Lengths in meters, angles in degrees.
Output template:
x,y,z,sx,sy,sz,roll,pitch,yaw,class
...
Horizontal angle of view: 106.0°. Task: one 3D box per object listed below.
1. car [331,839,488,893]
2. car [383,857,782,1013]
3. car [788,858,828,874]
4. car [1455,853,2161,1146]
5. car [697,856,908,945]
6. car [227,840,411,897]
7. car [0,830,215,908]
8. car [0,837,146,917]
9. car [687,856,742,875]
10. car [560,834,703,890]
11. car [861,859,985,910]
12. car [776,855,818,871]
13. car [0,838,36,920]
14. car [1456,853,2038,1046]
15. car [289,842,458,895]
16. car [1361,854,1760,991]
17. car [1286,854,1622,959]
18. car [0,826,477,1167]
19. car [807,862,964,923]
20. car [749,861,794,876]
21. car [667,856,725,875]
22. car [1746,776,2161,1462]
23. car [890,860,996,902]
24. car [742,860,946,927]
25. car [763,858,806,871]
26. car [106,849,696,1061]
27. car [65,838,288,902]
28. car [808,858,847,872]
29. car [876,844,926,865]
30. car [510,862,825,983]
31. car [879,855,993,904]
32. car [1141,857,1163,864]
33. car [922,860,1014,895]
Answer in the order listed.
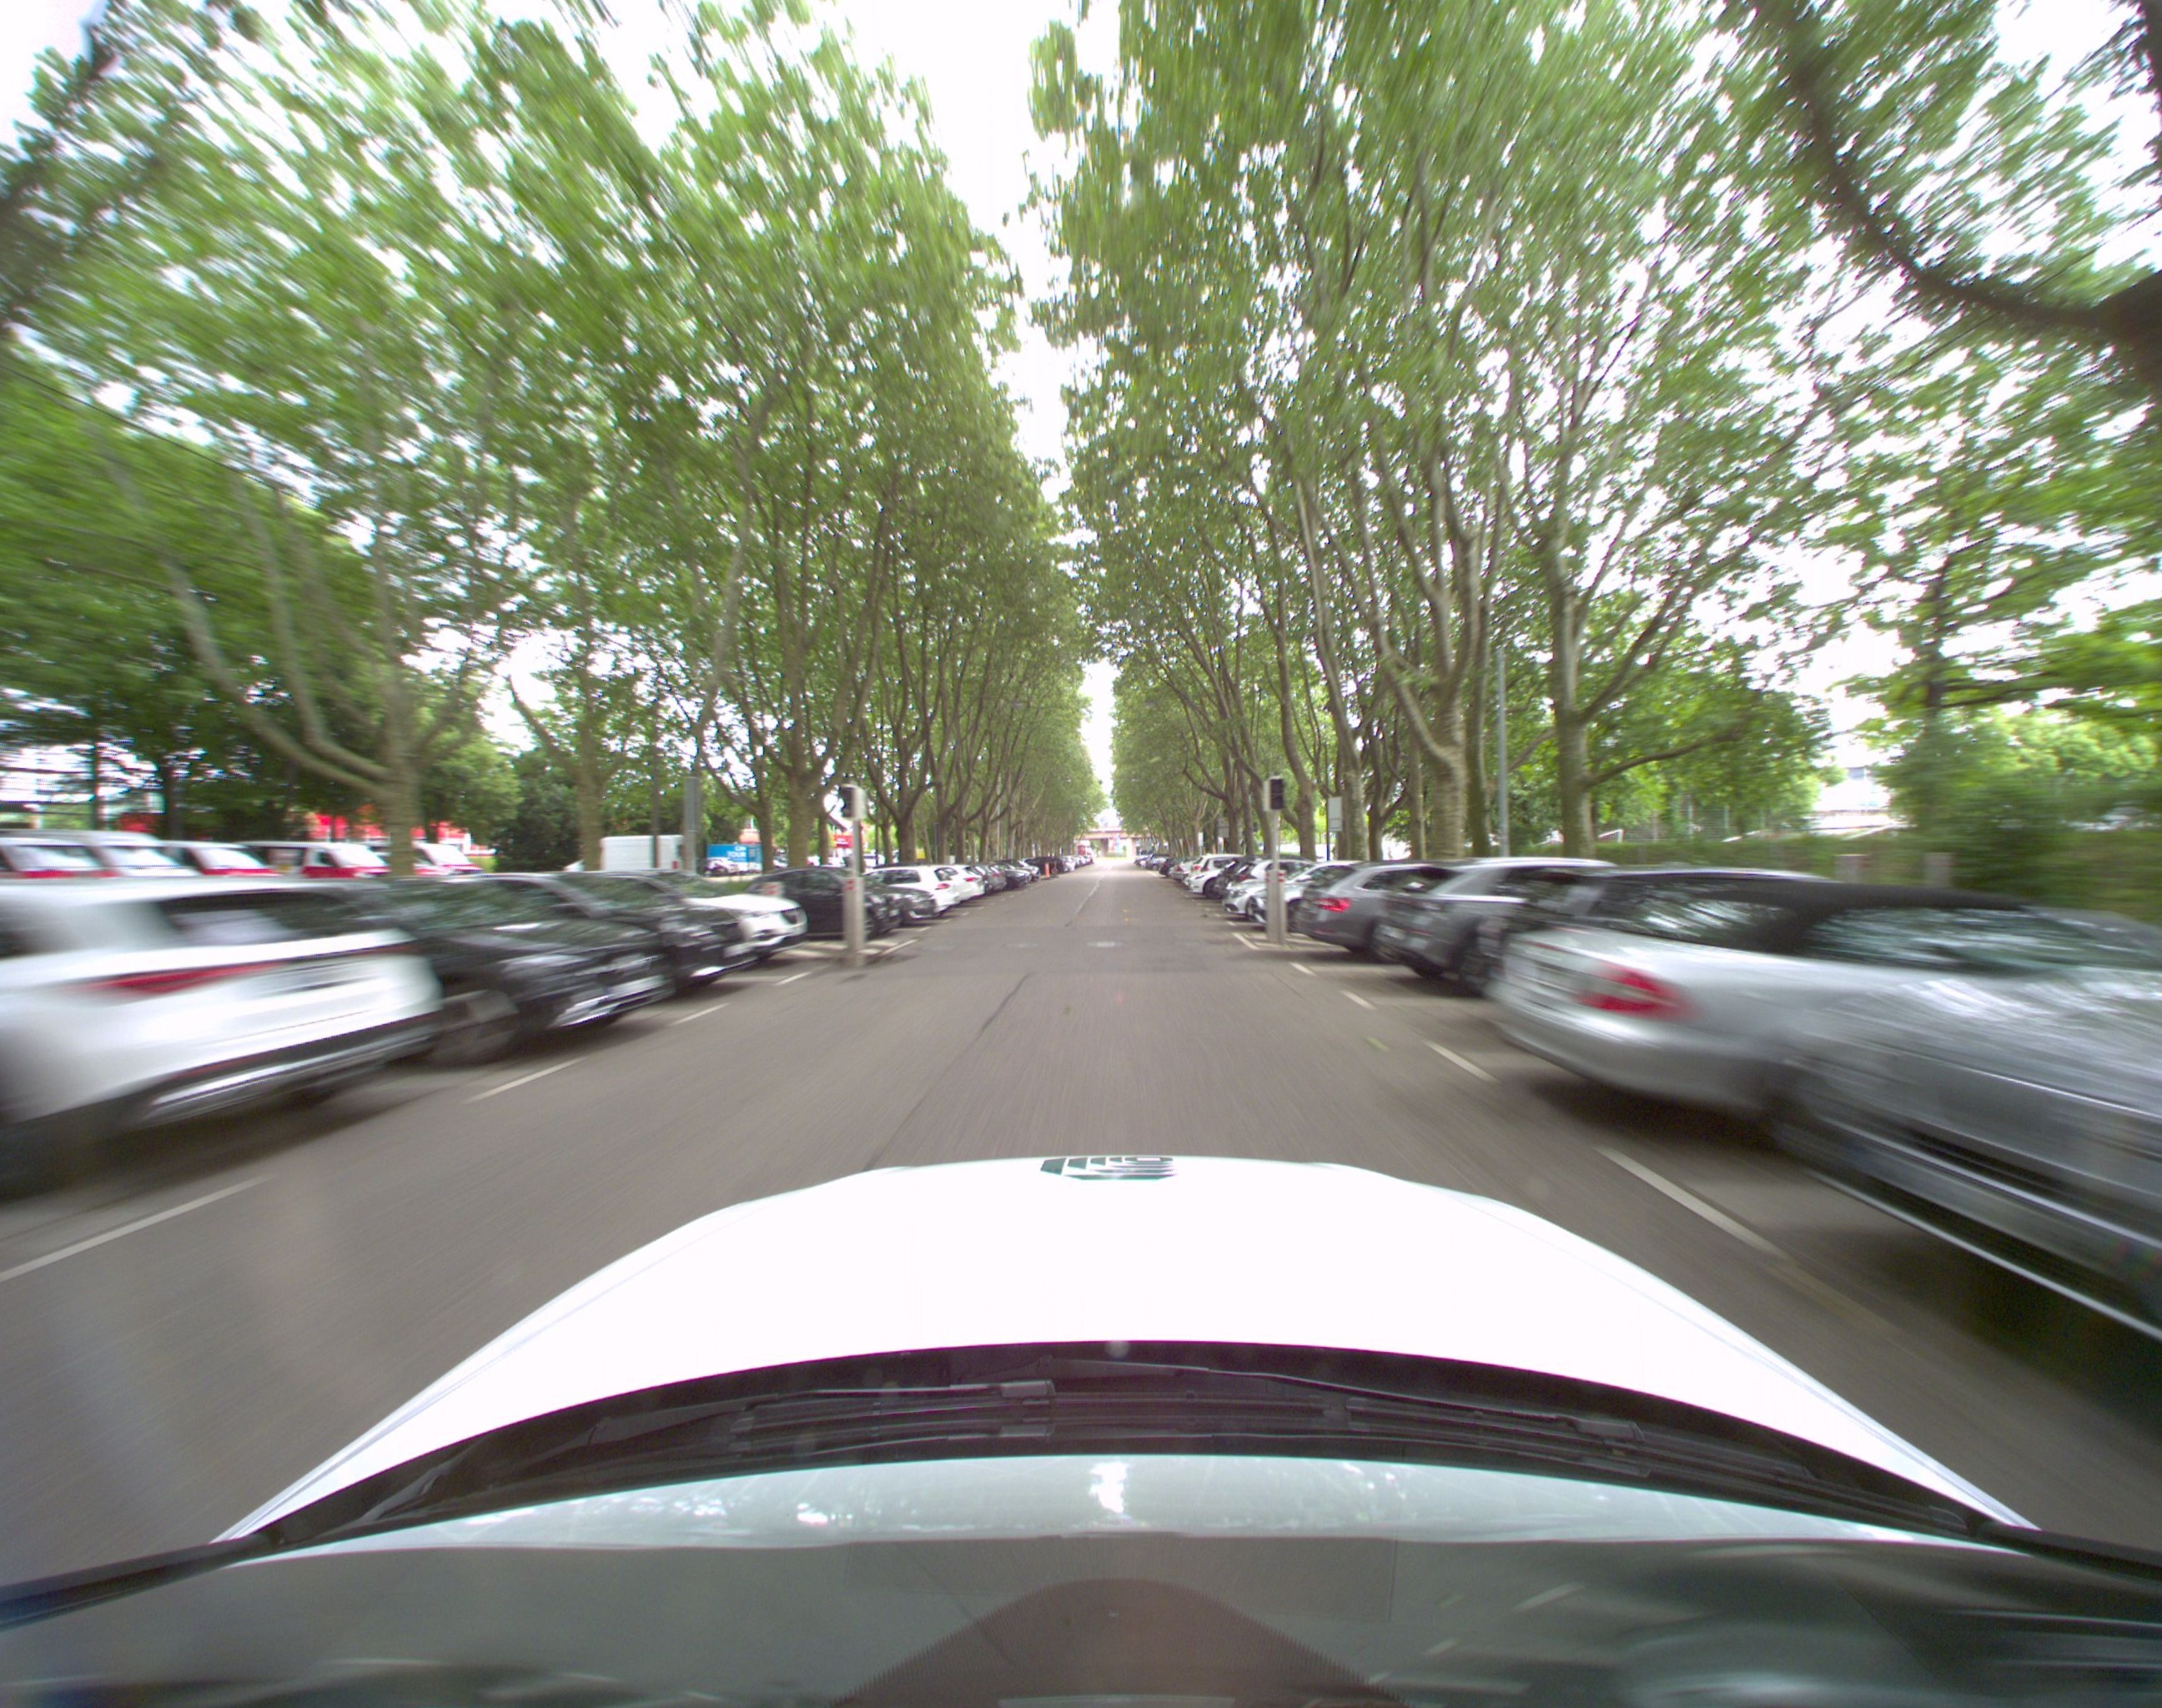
x,y,z,sx,sy,sz,roll,pitch,yaw,class
-32.494,0.561,39.511,5.978,2.527,2.001,0,0,2,car
-6.052,0.930,10.268,3.815,1.608,1.834,-2,0,-1,car
-29.227,1.277,87.337,3.743,1.590,1.535,0,0,0,car
4.708,0.733,4.978,4.097,1.470,1.695,0,0,2,car
-5.784,0.939,17.262,3.815,1.608,1.694,-2,0,-1,car
-32.212,0.610,34.531,5.978,2.330,2.001,0,0,2,car
-33.165,0.475,27.396,5.978,2.527,2.001,0,0,2,car
-32.502,0.669,24.751,5.978,2.318,2.001,0,0,2,car
-30.652,0.958,68.098,3.788,1.486,1.713,0,0,1,car
-21.471,0.350,39.054,5.762,2.597,2.002,0,0,3,car
-5.295,1.000,27.634,3.815,1.497,1.694,-2,0,-1,car
-29.585,0.925,84.851,3.743,1.590,1.535,0,0,0,car
-32.726,0.669,22.223,5.978,2.252,2.001,0,0,2,car
5.550,0.736,7.191,3.759,1.470,1.625,0,0,3,car
-31.993,0.636,36.942,5.978,2.305,2.001,0,0,2,car
5.452,0.735,9.627,3.761,1.470,1.668,0,0,2,car
5.461,0.735,12.293,4.350,1.470,1.624,0,0,1,car
-6.346,0.758,4.934,3.815,1.627,1.952,-2,0,-1,car
-5.255,1.022,22.255,3.815,1.430,1.694,-2,0,-1,car
-29.407,1.359,77.451,3.742,1.349,1.536,0,0,1,car
-30.823,0.893,65.270,3.788,1.486,1.679,0,0,1,car
4.703,0.650,2.385,4.096,1.670,1.695,0,0,2,car
-5.440,1.055,32.469,3.813,1.430,1.802,-2,0,1,car
-5.638,0.914,19.737,4.387,1.365,1.694,-2,0,-1,car
-29.925,1.054,82.241,3.743,1.349,1.535,0,0,0,car
-6.070,0.845,7.597,4.049,1.608,1.802,-2,0,4,car
-32.783,0.561,29.645,5.978,2.240,2.001,0,0,2,car
-28.930,1.254,92.947,3.961,1.590,1.699,0,0,11,car
-19.544,0.040,88.332,5.060,2.232,1.536,0,0,1,car
-6.353,1.017,12.840,4.031,1.608,1.694,-2,-1,-1,car
-5.304,0.911,30.105,3.816,1.608,1.858,-2,0,-1,car
14.261,1.300,163.342,4.358,1.523,1.732,0,0,3,car
-5.143,1.057,37.328,3.807,1.430,1.697,-2,0,6,car
